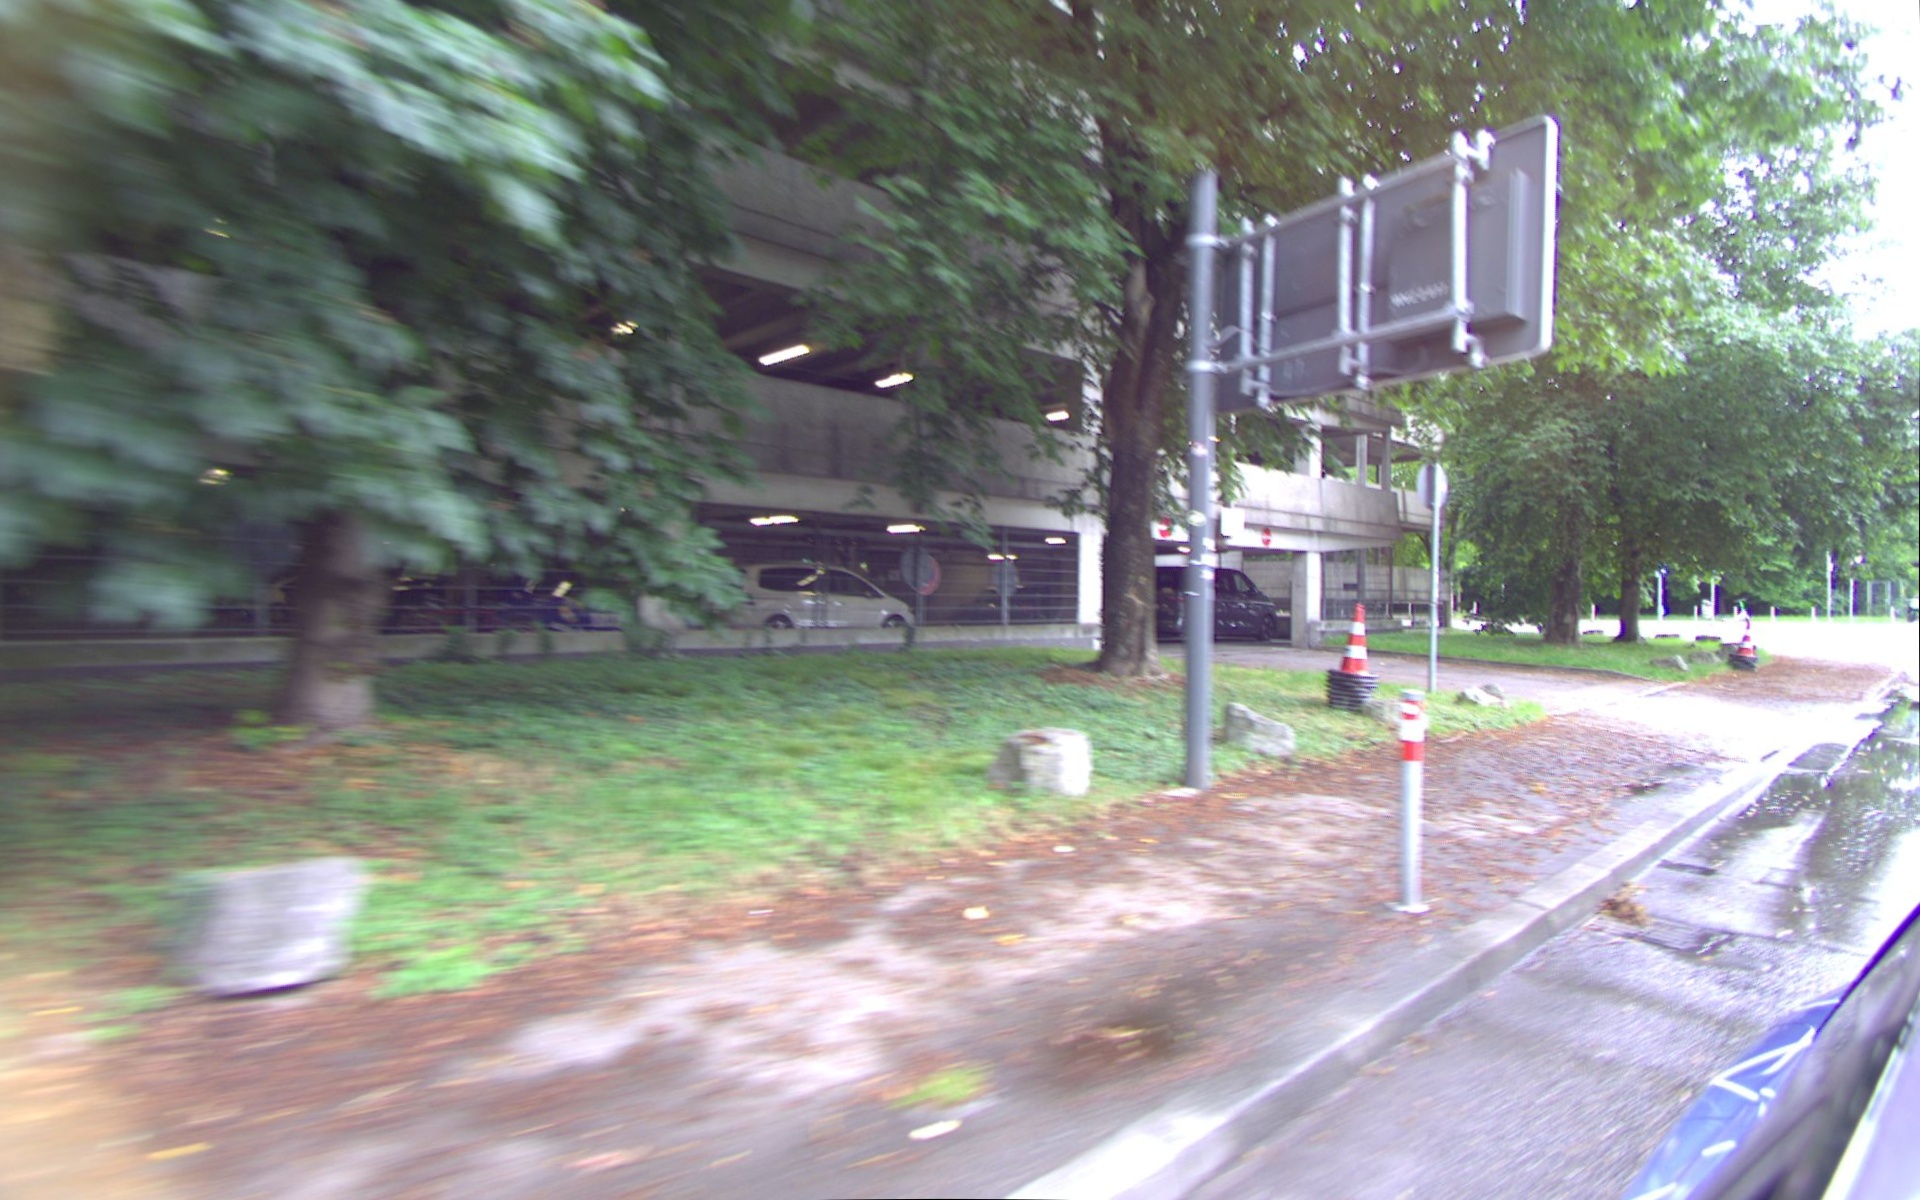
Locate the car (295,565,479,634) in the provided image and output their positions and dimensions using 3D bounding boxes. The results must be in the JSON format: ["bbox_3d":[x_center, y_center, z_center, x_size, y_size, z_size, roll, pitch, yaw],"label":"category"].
[{"bbox_3d":[-14.064,-0.046,24.948,3.641,1.565,1.718,-2,1,-44],"label":"car"}]

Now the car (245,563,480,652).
[{"bbox_3d":[-11.573,0.093,19.734,3.642,1.565,1.717,-2,1,-45],"label":"car"}]

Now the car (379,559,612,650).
[{"bbox_3d":[-8.748,0.036,19.220,3.642,1.565,1.717,-2,1,-45],"label":"car"}]

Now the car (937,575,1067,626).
[{"bbox_3d":[1.376,-0.008,32.360,3.930,1.471,1.875,-2,1,-40],"label":"car"}]

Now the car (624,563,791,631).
[{"bbox_3d":[-6.189,-0.105,25.057,3.642,1.565,1.717,-2,1,-45],"label":"car"}]

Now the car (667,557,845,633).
[{"bbox_3d":[-4.602,-0.143,23.119,3.632,1.606,1.717,-2,1,-45],"label":"car"}]

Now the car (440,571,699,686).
[{"bbox_3d":[-6.566,0.403,17.256,3.793,1.730,1.587,-2,1,-43],"label":"car"}]

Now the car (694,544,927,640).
[{"bbox_3d":[-2.926,-0.199,20.529,4.590,1.730,1.587,-2,1,-43],"label":"car"}]

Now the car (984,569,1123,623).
[{"bbox_3d":[2.805,-0.157,29.994,3.930,1.471,1.875,-2,1,-40],"label":"car"}]

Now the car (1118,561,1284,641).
[{"bbox_3d":[6.230,0.003,25.827,4.657,1.858,1.921,0,0,-44],"label":"car"}]
